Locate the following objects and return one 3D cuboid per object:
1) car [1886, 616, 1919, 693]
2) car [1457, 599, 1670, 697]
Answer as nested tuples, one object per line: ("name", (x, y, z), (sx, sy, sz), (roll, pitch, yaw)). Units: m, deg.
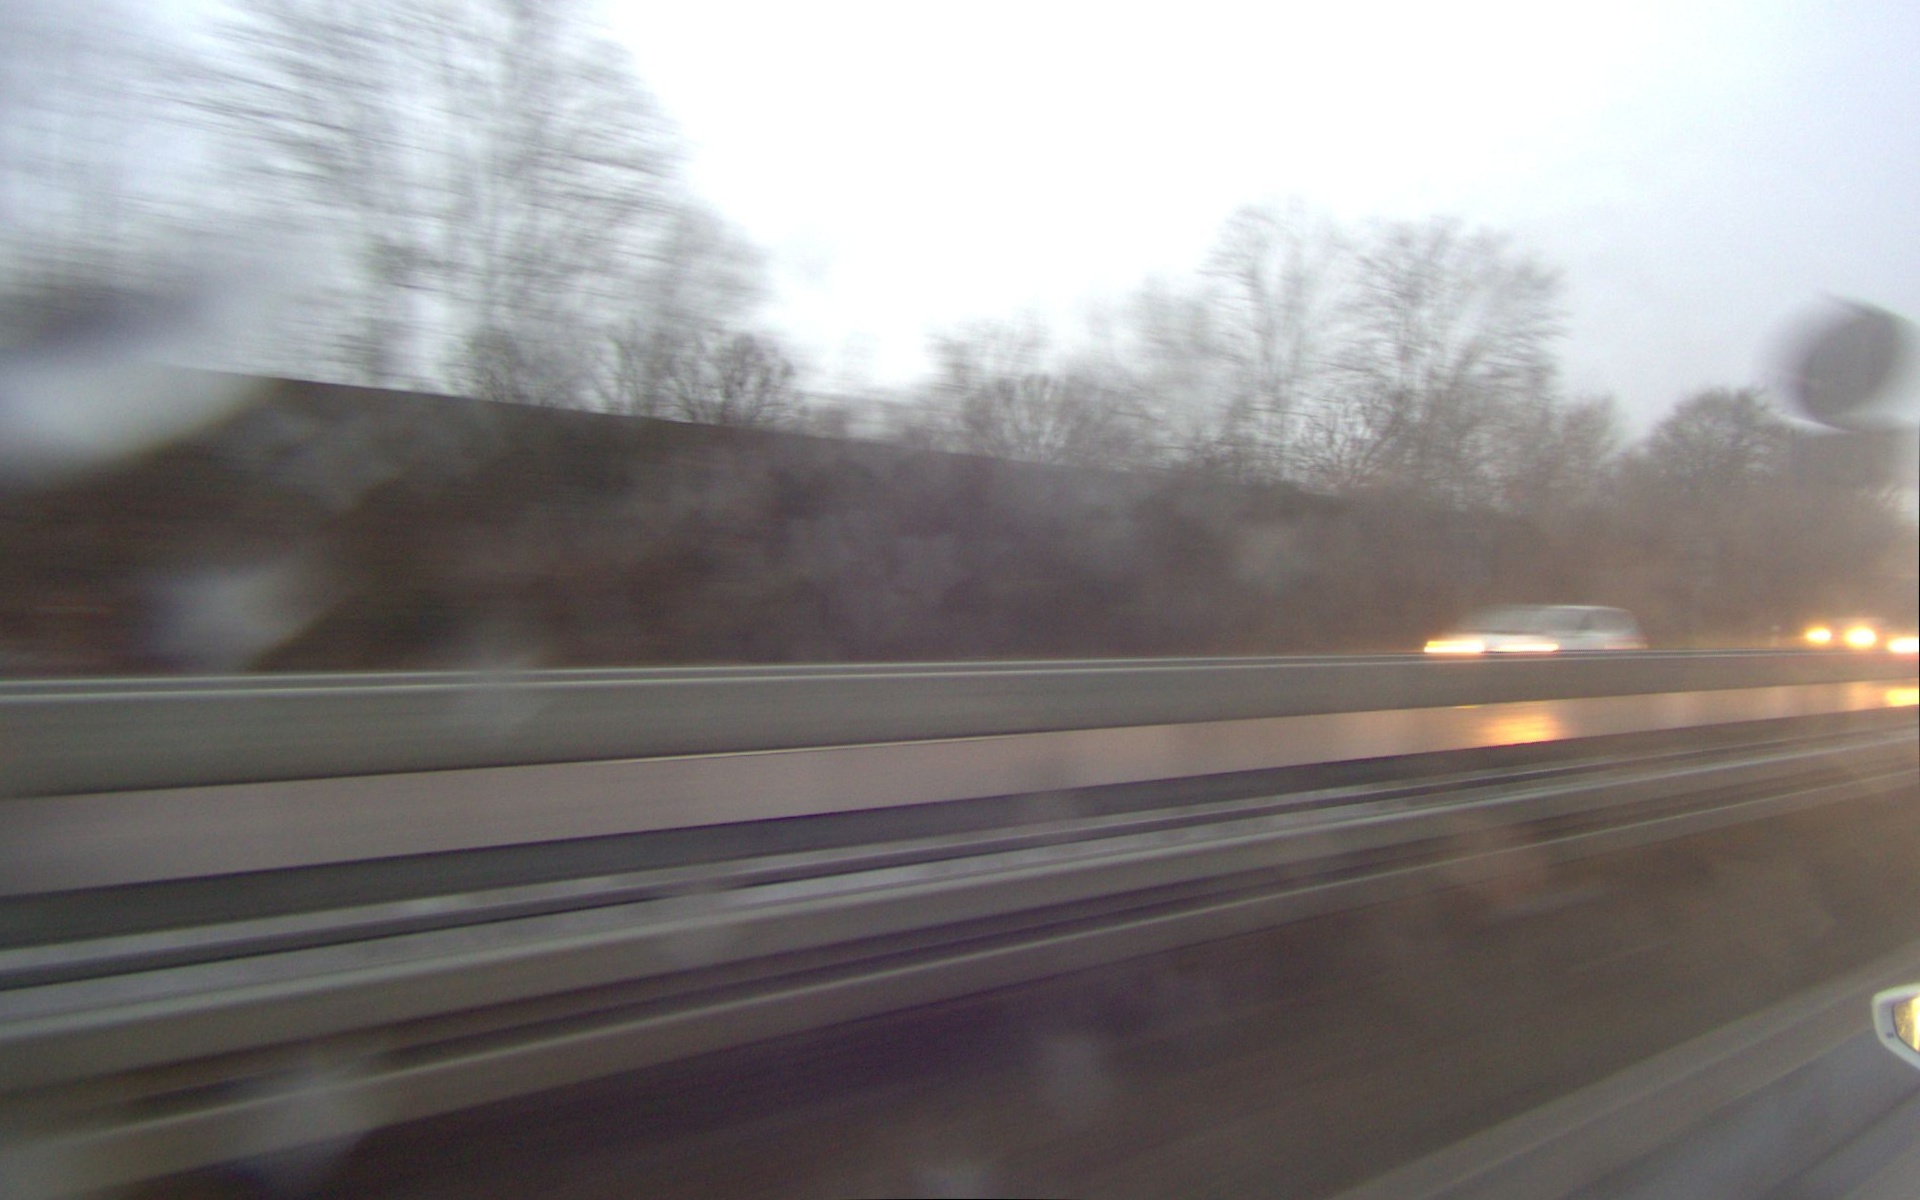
("car", (23.343, 1.302, 23.294), (3.956, 1.706, 1.757), (2, 0, -32))
("car", (11.786, 0.919, 19.553), (4.383, 1.688, 1.683), (2, 0, -31))
